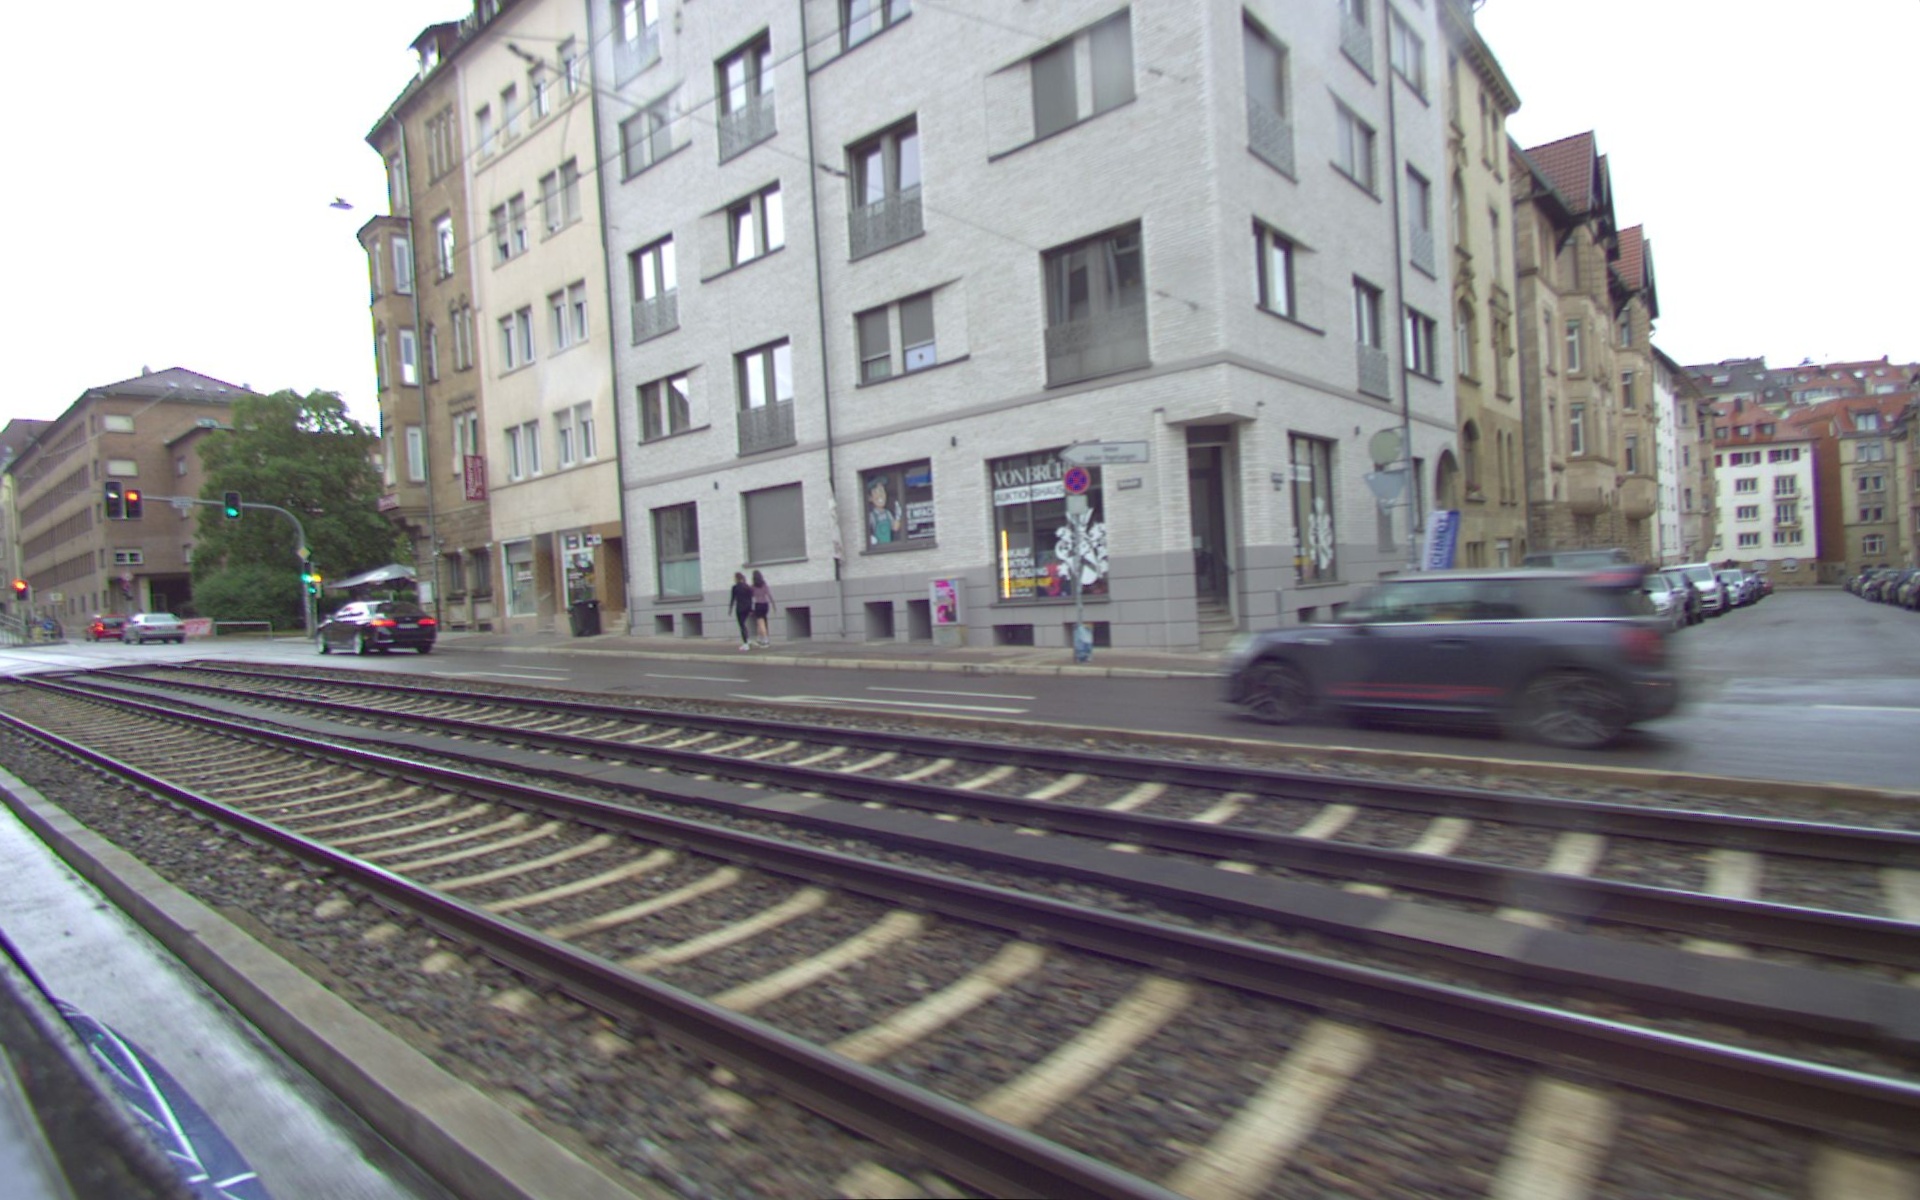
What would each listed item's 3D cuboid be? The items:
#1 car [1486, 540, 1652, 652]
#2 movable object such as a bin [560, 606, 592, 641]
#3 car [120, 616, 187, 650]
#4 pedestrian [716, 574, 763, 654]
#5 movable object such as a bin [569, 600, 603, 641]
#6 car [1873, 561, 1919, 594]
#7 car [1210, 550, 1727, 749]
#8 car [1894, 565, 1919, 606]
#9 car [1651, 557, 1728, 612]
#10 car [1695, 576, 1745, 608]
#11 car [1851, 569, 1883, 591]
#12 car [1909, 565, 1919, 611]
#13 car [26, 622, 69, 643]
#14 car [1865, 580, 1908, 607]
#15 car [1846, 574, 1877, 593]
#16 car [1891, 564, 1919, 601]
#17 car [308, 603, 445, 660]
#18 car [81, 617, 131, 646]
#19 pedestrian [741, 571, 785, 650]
[{"bbox_3d":[11.031,-0.106,18.171,2.032,1.741,4.648,-2,1,37],"label":"car"},{"bbox_3d":[-11.308,0.692,29.799,0.563,0.934,0.623,-2,5,40],"label":"movable object such as a bin"},{"bbox_3d":[-38.620,1.555,48.420,4.641,1.472,1.695,-2,1,42],"label":"car"},{"bbox_3d":[-4.905,0.307,22.516,0.746,1.730,0.595,-2,3,43],"label":"pedestrian"},{"bbox_3d":[-10.838,0.591,29.298,0.563,1.088,0.623,-2,5,40],"label":"movable object such as a bin"},{"bbox_3d":[47.035,-1.114,50.707,1.663,1.548,3.402,-2,-1,39],"label":"car"},{"bbox_3d":[4.359,0.367,9.024,3.781,1.398,1.686,-2,0,44],"label":"car"},{"bbox_3d":[37.220,-0.561,38.919,1.663,1.548,3.402,-2,-1,39],"label":"car"},{"bbox_3d":[26.919,-0.545,37.262,1.948,1.884,4.735,-2,-1,40],"label":"car"},{"bbox_3d":[36.552,-0.373,48.628,1.704,1.401,4.401,-2,-1,40],"label":"car"},{"bbox_3d":[68.131,-1.490,76.062,1.690,1.485,3.735,-2,-1,40],"label":"car"},{"bbox_3d":[33.890,-0.433,34.698,1.663,1.548,3.402,-2,-1,39],"label":"car"},{"bbox_3d":[-63.380,2.259,70.288,3.943,1.346,1.759,-2,1,41],"label":"car"},{"bbox_3d":[54.332,-0.365,59.389,1.690,1.485,3.735,-2,-1,40],"label":"car"},{"bbox_3d":[73.657,-1.315,82.694,1.689,1.485,3.736,-2,-1,39],"label":"car"},{"bbox_3d":[40.819,-0.737,42.968,1.663,1.548,3.402,-2,-1,39],"label":"car"},{"bbox_3d":[-16.886,0.879,29.175,4.859,1.468,2.066,-2,0,43],"label":"car"},{"bbox_3d":[-47.332,1.736,56.063,3.386,1.461,1.610,-2,1,41],"label":"car"},{"bbox_3d":[-4.466,0.240,22.990,0.658,1.730,0.595,-2,3,43],"label":"pedestrian"}]
